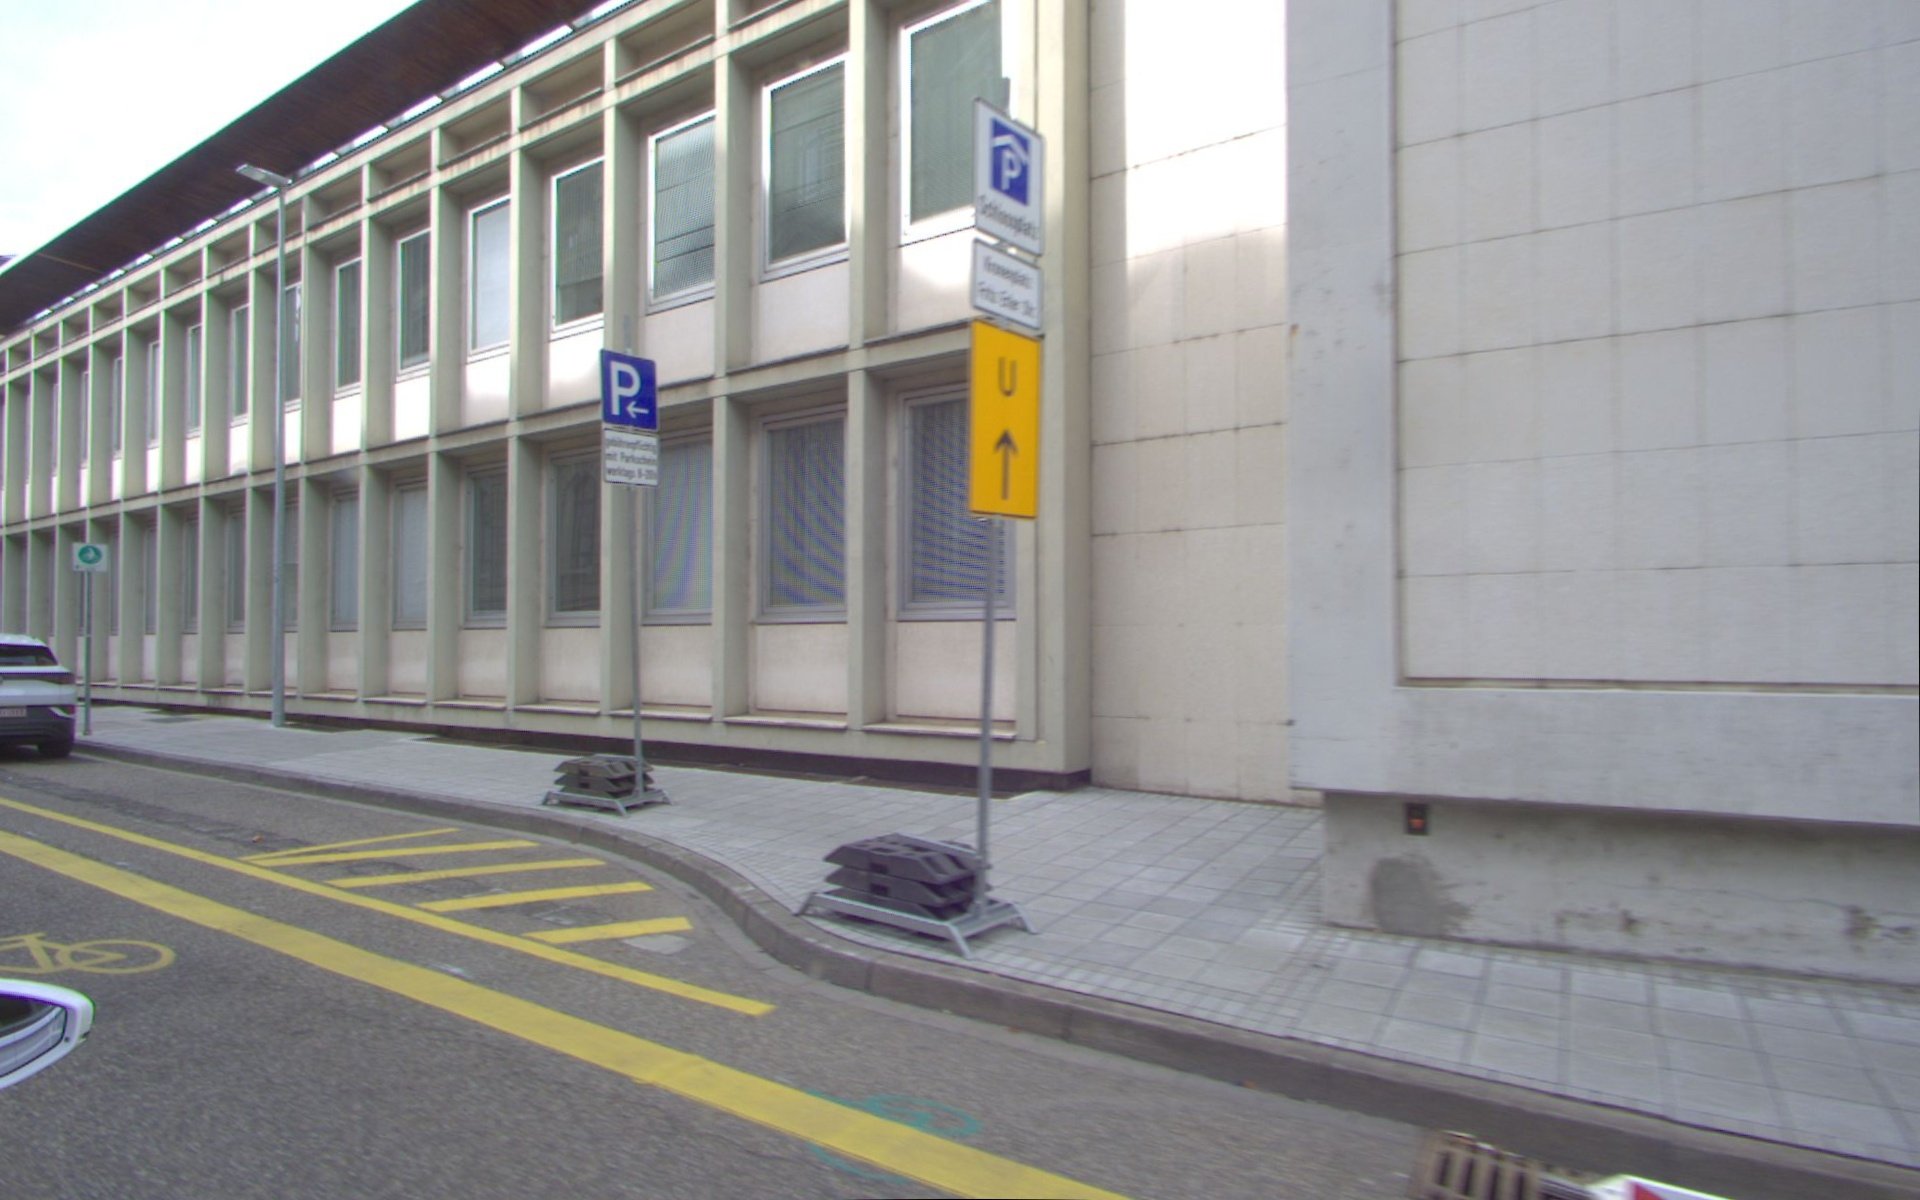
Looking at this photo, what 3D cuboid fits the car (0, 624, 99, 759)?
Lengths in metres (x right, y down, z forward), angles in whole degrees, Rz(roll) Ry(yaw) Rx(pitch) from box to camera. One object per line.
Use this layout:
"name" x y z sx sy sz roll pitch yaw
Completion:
"car" -13.454 1.160 13.378 4.452 1.624 1.857 -2 -5 35
